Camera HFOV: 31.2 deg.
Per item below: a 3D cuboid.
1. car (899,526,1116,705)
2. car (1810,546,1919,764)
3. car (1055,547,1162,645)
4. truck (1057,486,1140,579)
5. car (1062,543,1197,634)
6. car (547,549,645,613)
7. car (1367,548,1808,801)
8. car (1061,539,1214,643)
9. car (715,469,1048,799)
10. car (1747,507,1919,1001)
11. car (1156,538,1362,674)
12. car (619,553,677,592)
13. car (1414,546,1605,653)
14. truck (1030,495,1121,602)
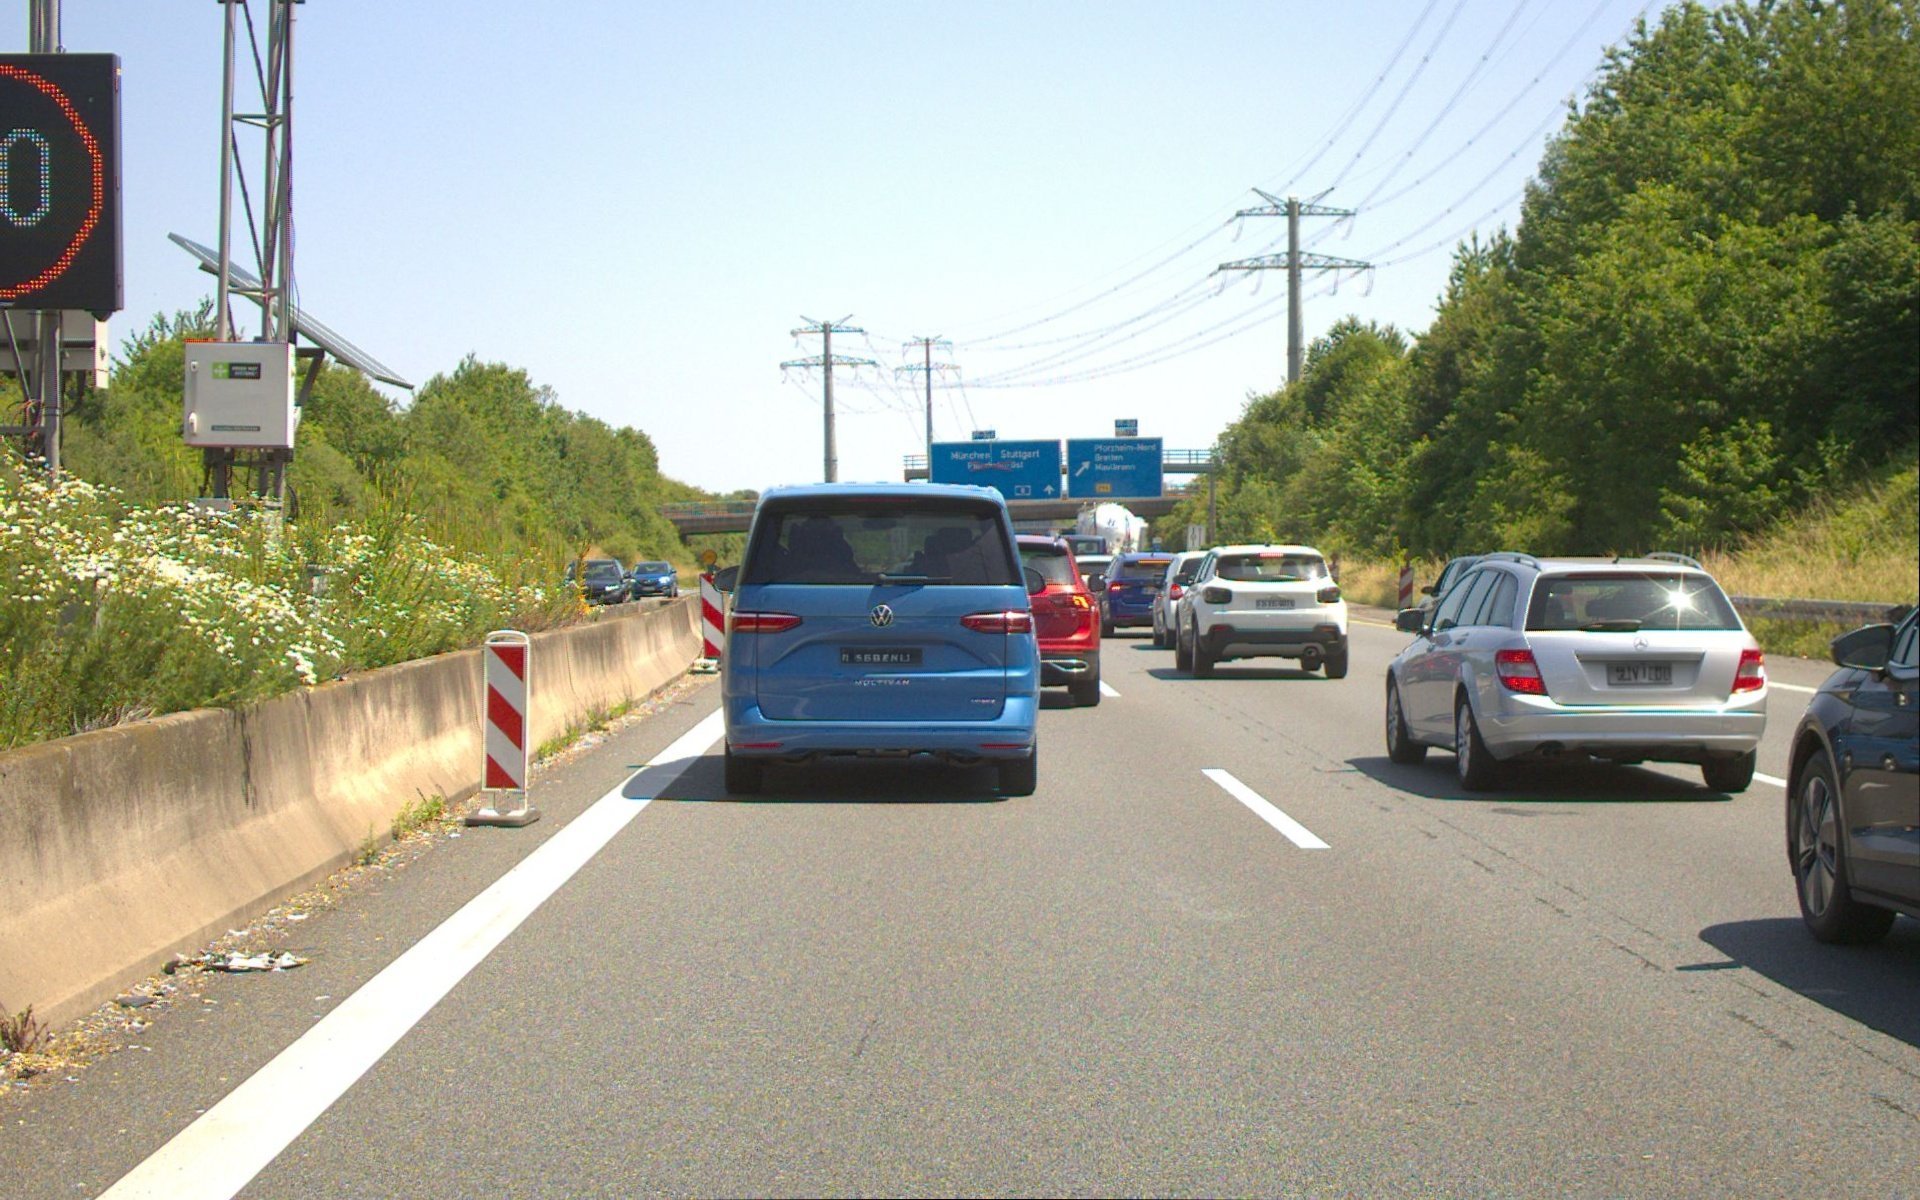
[{"bbox_3d":[0.397,0.107,33.620,1.908,1.625,4.384,0,1,-2],"label":"car"},{"bbox_3d":[7.389,0.371,24.194,1.741,1.465,4.014,1,1,-1],"label":"car"},{"bbox_3d":[3.142,-0.108,73.413,1.993,2.007,4.000,1,1,-1],"label":"car"},{"bbox_3d":[6.367,-3.135,160.846,2.644,4.058,16.442,1,1,-2],"label":"truck"},{"bbox_3d":[2.910,-0.230,59.953,1.908,1.511,4.384,1,1,-3],"label":"car"},{"bbox_3d":[-9.251,-0.512,87.618,1.993,1.540,4.912,-1,1,-1],"label":"car"},{"bbox_3d":[3.899,0.398,22.120,1.821,1.432,4.384,1,1,-3],"label":"car"},{"bbox_3d":[2.677,-0.169,52.810,1.908,1.511,4.384,1,1,-3],"label":"car"},{"bbox_3d":[-0.605,0.159,21.971,1.870,1.872,4.384,1,1,-4],"label":"car"},{"bbox_3d":[4.051,0.509,11.201,1.828,1.609,4.431,0,1,-2],"label":"car"},{"bbox_3d":[3.491,0.036,40.851,1.908,1.503,3.922,1,1,-3],"label":"car"},{"bbox_3d":[-12.960,-1.167,143.068,1.993,1.540,4.912,-1,1,-1],"label":"car"},{"bbox_3d":[7.491,-0.036,47.241,1.734,1.373,4.303,1,1,-3],"label":"car"},{"bbox_3d":[3.018,-1.376,90.925,1.993,2.714,5.681,1,1,-2],"label":"truck"}]
